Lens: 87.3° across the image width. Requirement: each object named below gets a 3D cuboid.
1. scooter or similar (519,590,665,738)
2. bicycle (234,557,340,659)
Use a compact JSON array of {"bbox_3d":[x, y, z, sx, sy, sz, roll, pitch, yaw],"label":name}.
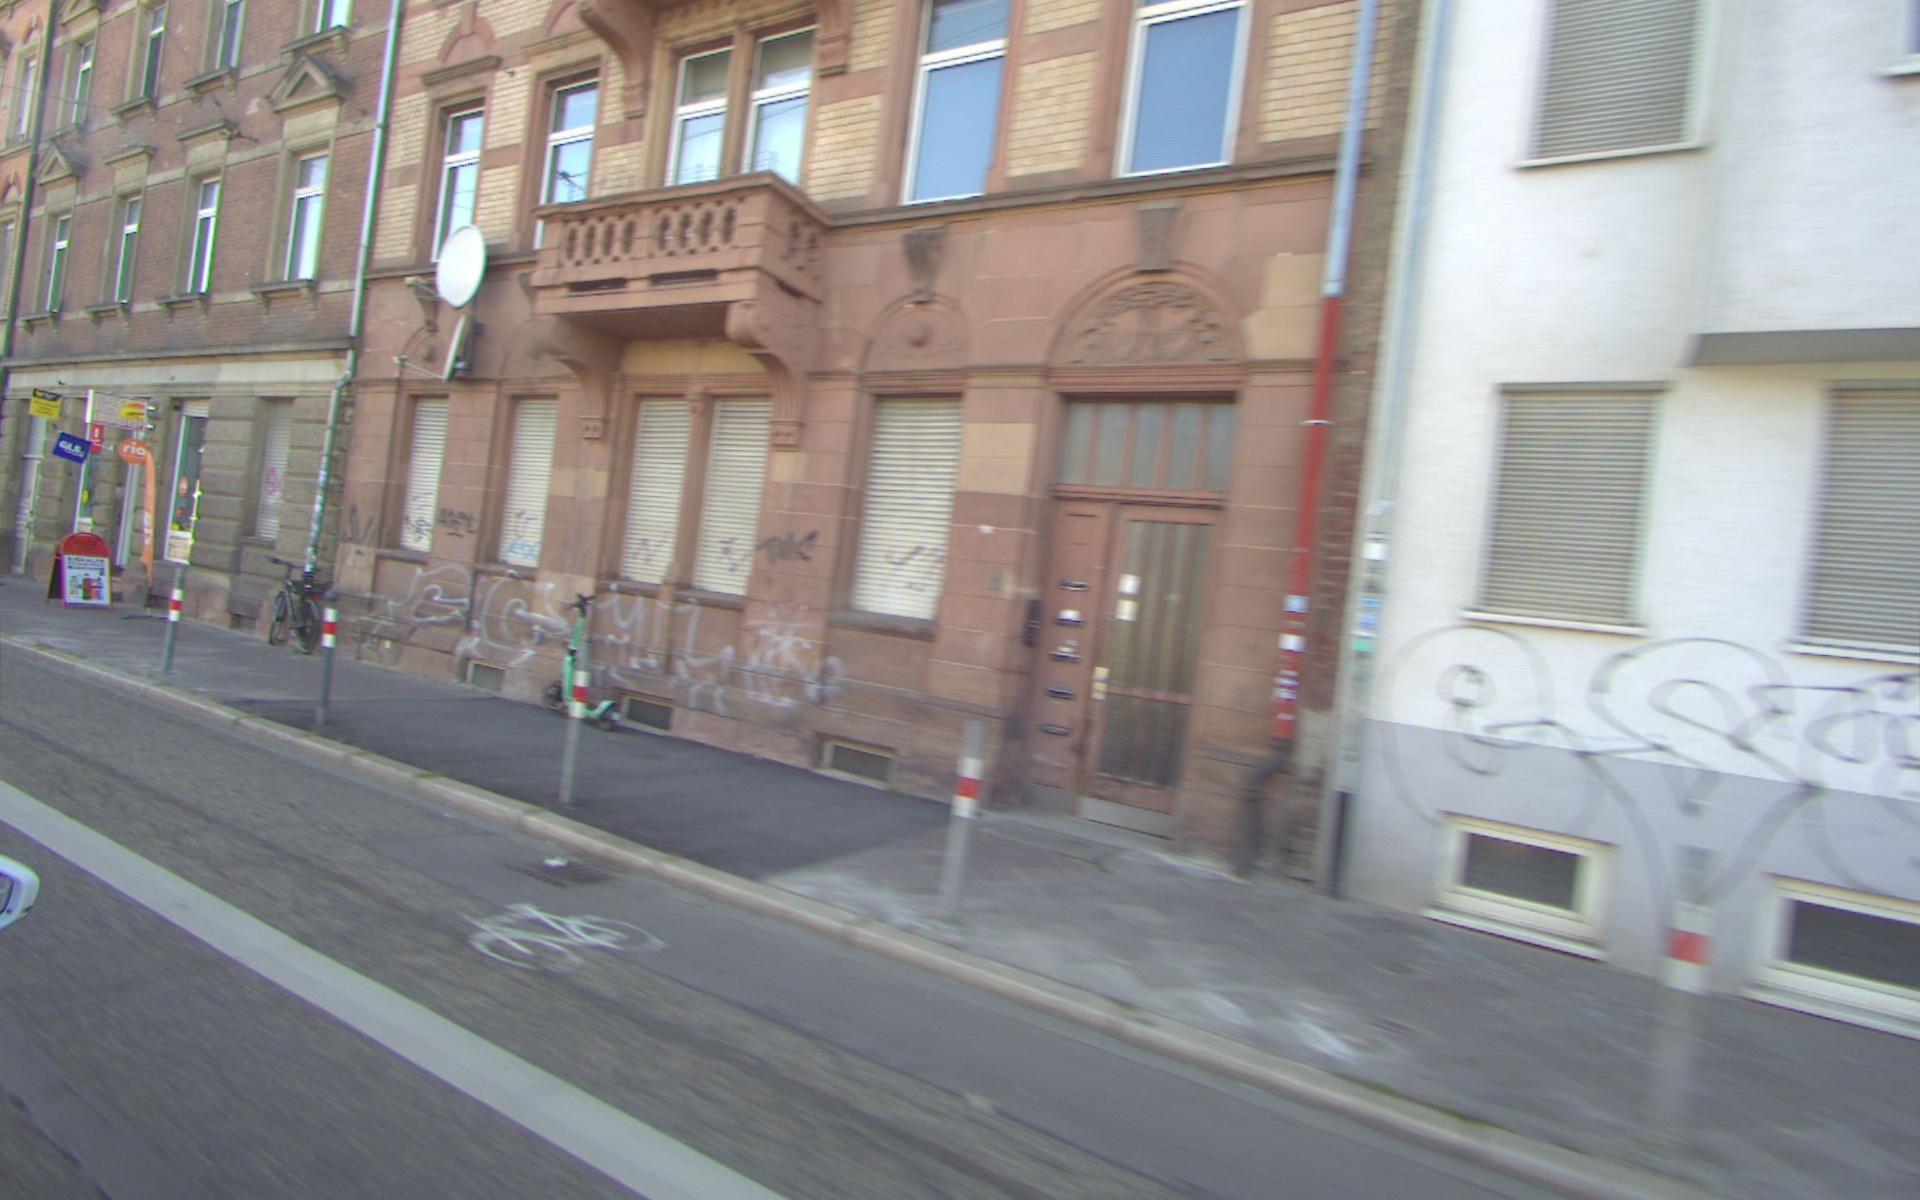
[{"bbox_3d":[-3.562,0.591,9.685,1.456,1.226,0.406,6,0,32],"label":"scooter or similar"},{"bbox_3d":[-8.630,0.084,12.865,1.868,1.135,0.409,6,0,35],"label":"bicycle"}]
